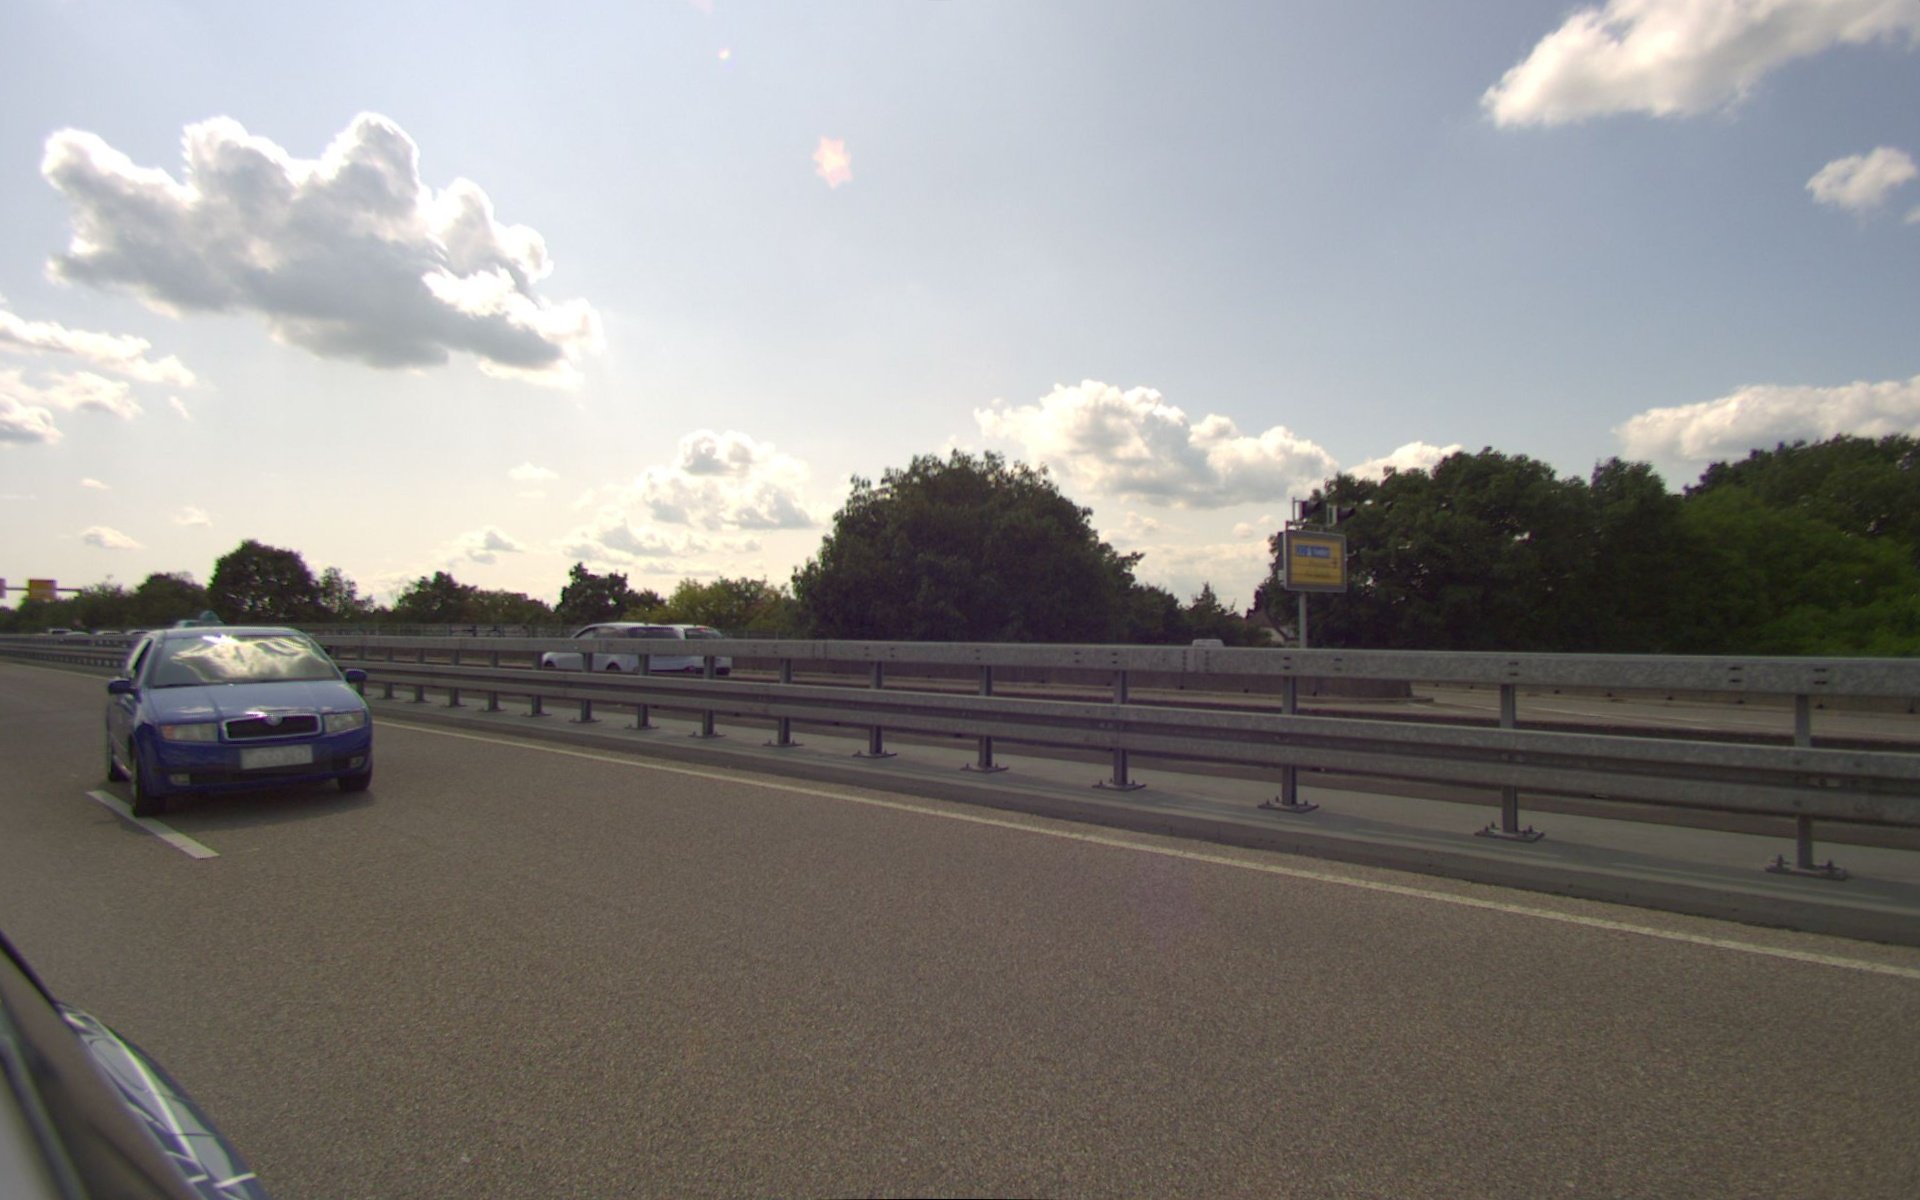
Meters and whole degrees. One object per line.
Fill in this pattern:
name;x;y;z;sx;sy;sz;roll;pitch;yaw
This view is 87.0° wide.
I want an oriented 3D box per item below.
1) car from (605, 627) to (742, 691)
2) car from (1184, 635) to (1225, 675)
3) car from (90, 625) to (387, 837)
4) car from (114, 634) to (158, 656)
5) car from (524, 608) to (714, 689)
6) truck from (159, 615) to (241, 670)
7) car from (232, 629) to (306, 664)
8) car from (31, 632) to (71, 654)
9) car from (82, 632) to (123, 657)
car;-7.938;1.574;27.913;3.953;1.593;1.810;-2;-1;42
car;13.299;2.932;54.813;1.982;1.912;5.143;-1;0;15
car;-6.511;0.964;8.969;1.602;1.422;3.774;-1;-1;-44
car;-56.990;3.124;69.964;3.627;1.486;1.582;-2;-4;39
car;-7.370;0.992;21.717;4.238;1.540;1.883;-2;-1;39
truck;-32.541;1.781;43.248;5.187;2.203;1.853;-2;-1;42
car;-35.133;2.332;51.410;4.507;1.652;1.872;-2;-1;39
car;-86.983;4.104;96.798;5.184;1.940;1.941;-3;-1;38
car;-64.882;3.387;76.561;4.405;1.724;1.566;-3;-1;39
